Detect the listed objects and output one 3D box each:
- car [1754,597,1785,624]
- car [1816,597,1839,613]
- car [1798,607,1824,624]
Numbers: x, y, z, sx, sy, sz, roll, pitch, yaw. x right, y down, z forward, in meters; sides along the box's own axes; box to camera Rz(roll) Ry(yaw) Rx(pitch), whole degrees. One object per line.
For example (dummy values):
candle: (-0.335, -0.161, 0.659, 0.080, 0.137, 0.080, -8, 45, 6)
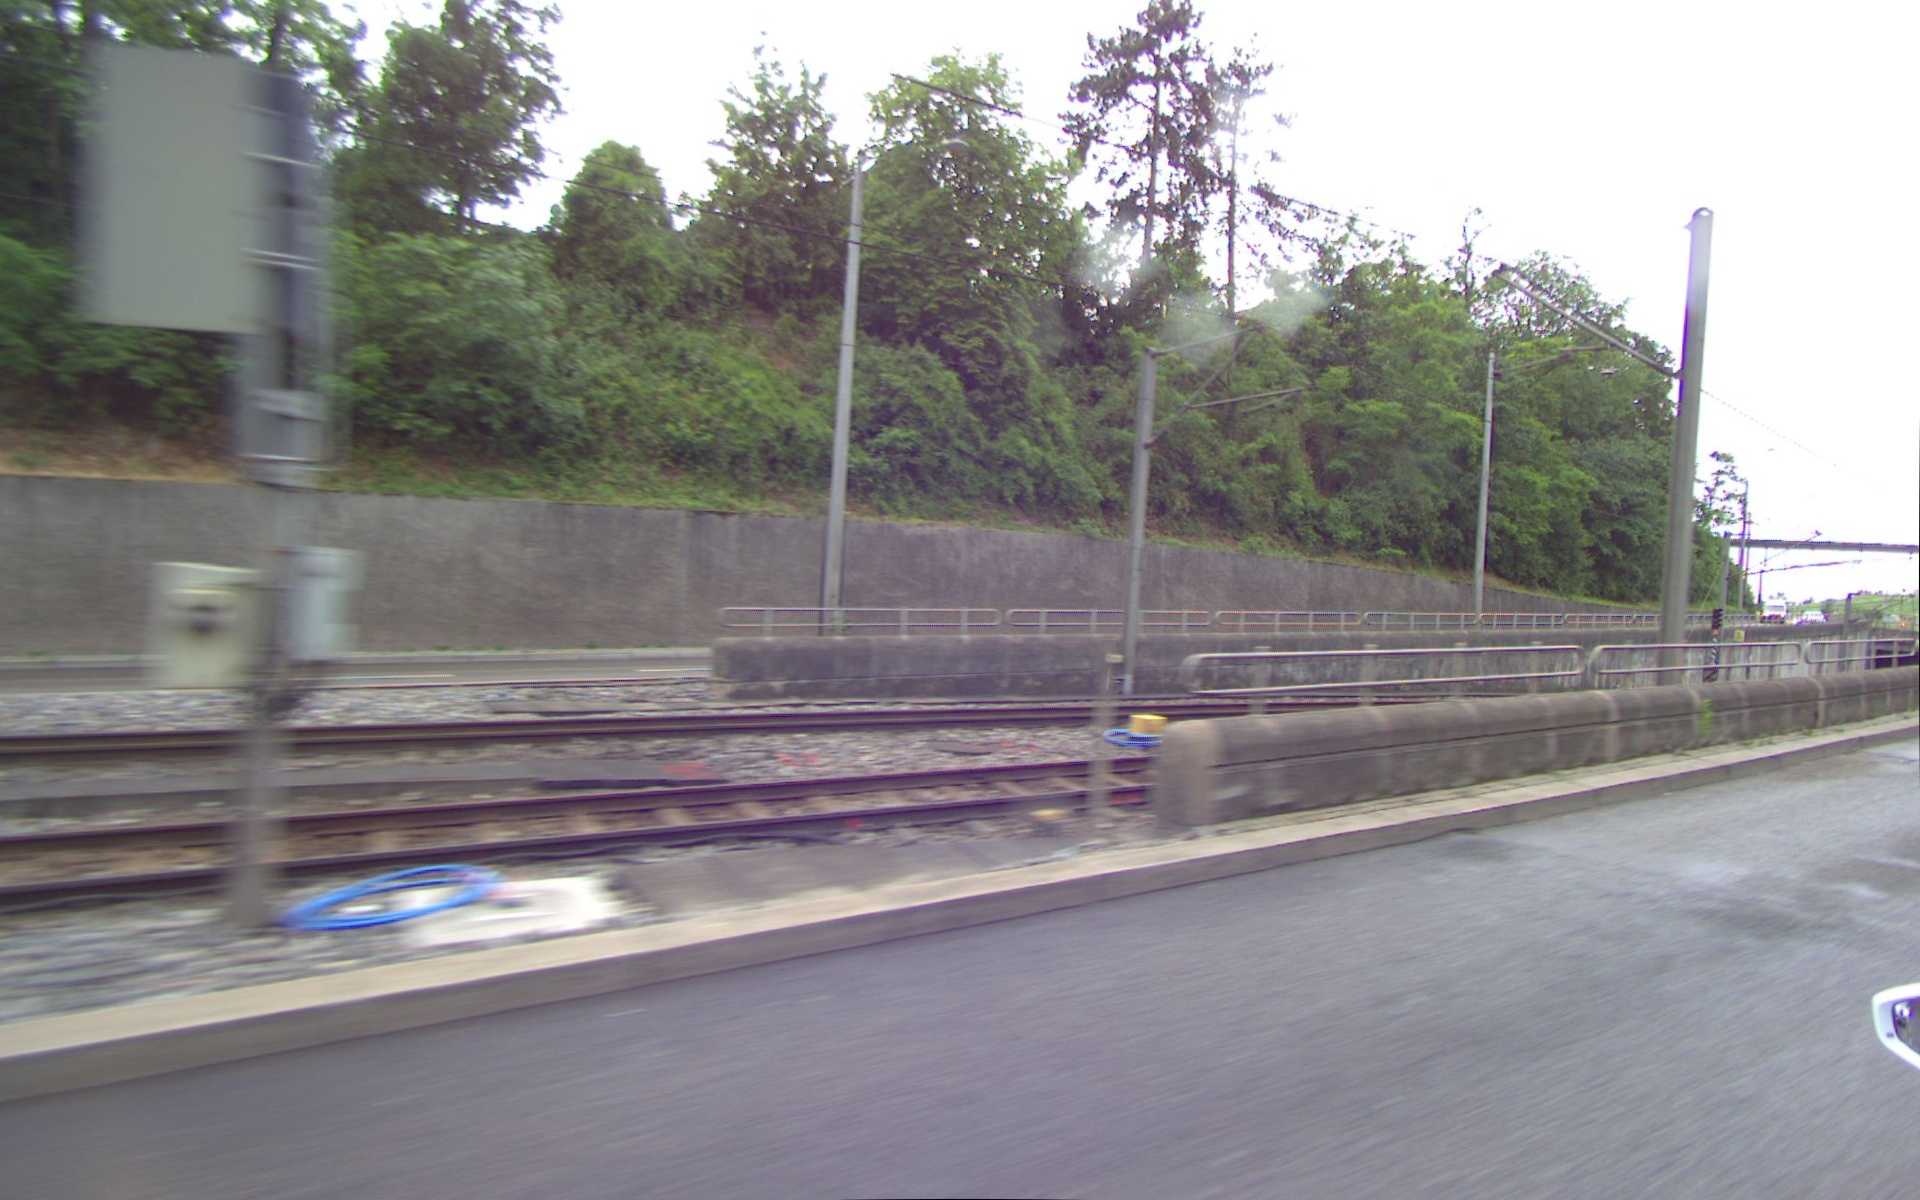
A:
car: (88.486, 1.152, 109.759, 2.159, 2.771, 6.308, 1, 0, 43)
car: (98.842, 0.598, 114.455, 1.939, 1.773, 4.119, 1, 0, 42)
car: (87.235, 1.601, 102.911, 1.798, 1.726, 4.087, 1, 0, 43)
